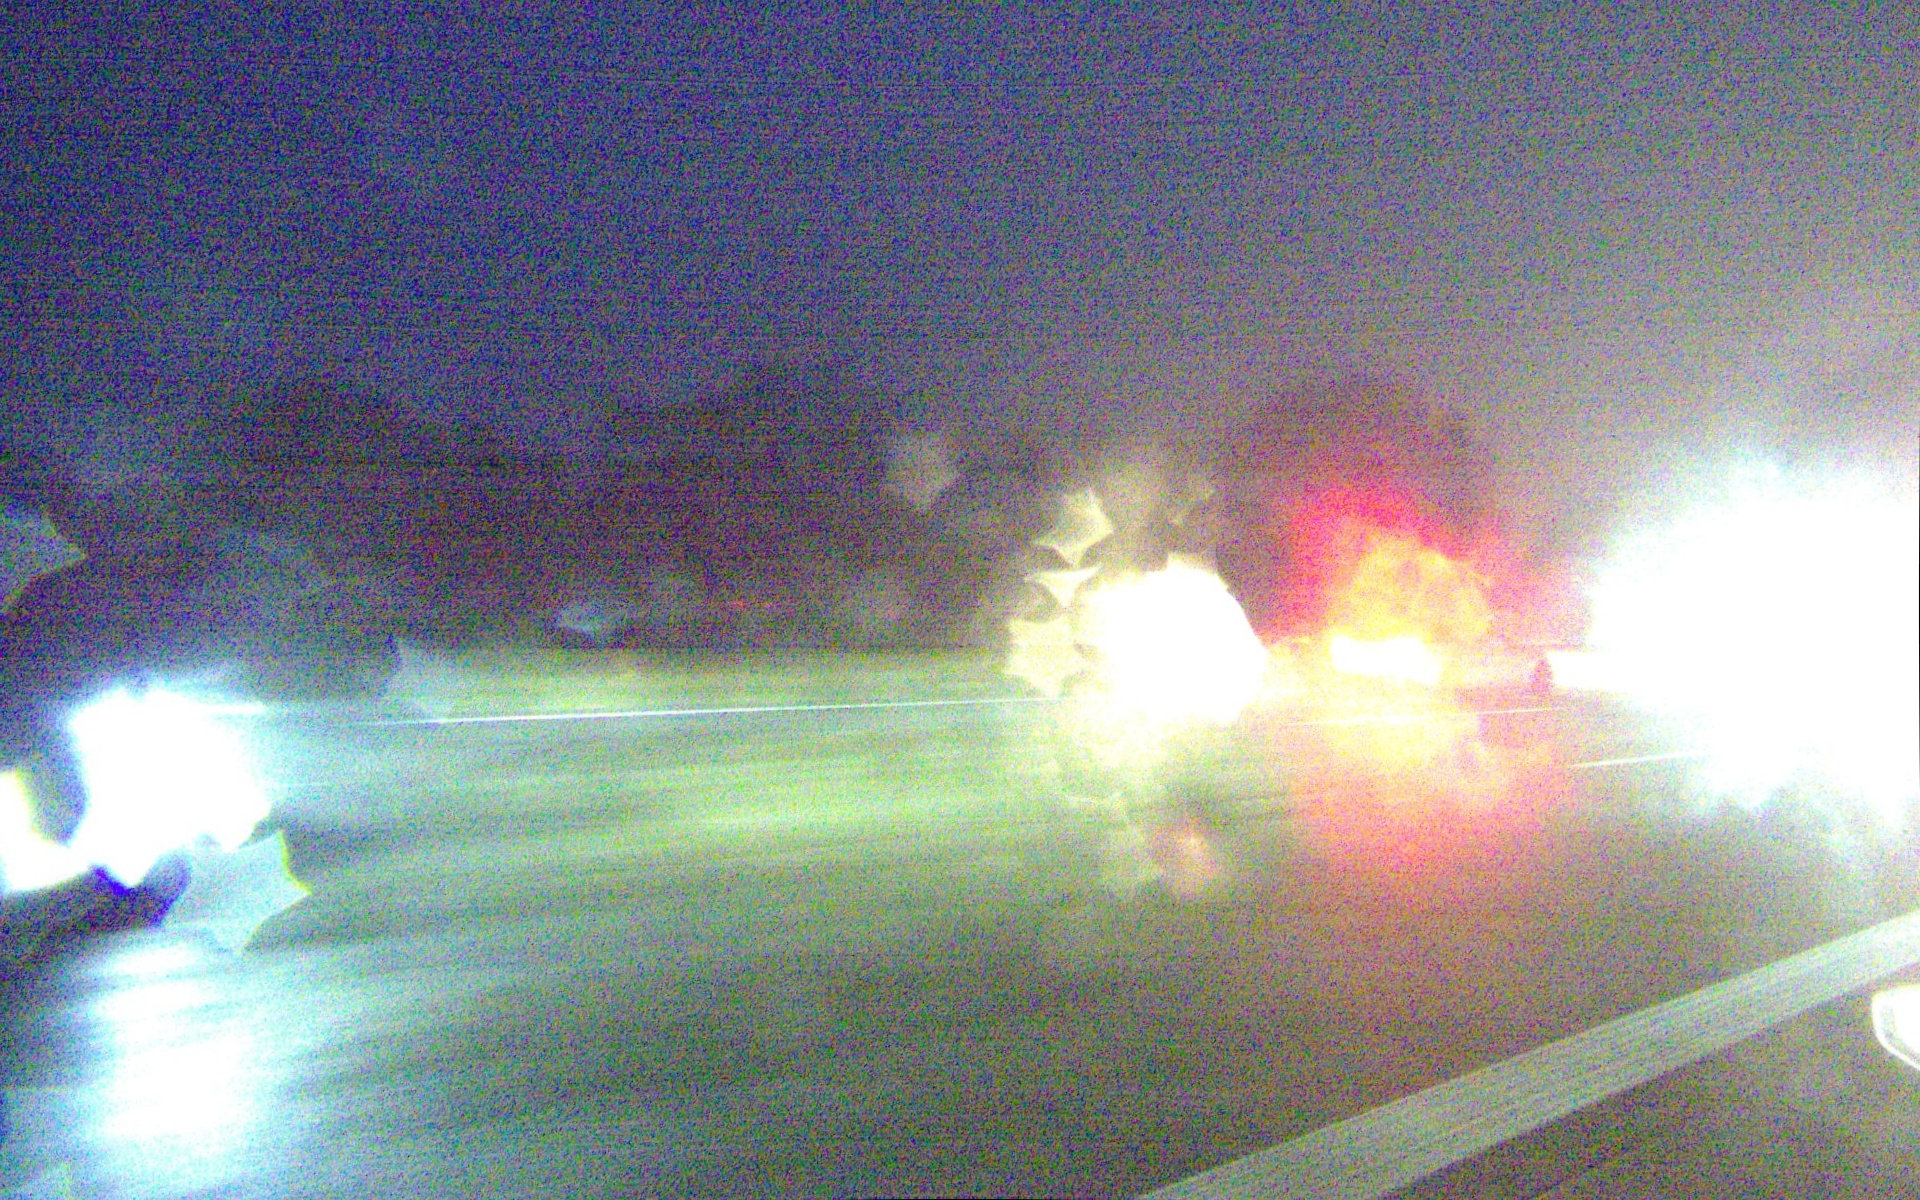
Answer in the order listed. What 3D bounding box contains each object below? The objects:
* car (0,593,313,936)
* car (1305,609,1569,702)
[{"bbox_3d":[-5.484,0.689,4.733,3.953,1.460,1.984,2,0,-30],"label":"car"},{"bbox_3d":[8.973,0.996,18.749,5.107,1.496,1.983,2,0,-32],"label":"car"}]
